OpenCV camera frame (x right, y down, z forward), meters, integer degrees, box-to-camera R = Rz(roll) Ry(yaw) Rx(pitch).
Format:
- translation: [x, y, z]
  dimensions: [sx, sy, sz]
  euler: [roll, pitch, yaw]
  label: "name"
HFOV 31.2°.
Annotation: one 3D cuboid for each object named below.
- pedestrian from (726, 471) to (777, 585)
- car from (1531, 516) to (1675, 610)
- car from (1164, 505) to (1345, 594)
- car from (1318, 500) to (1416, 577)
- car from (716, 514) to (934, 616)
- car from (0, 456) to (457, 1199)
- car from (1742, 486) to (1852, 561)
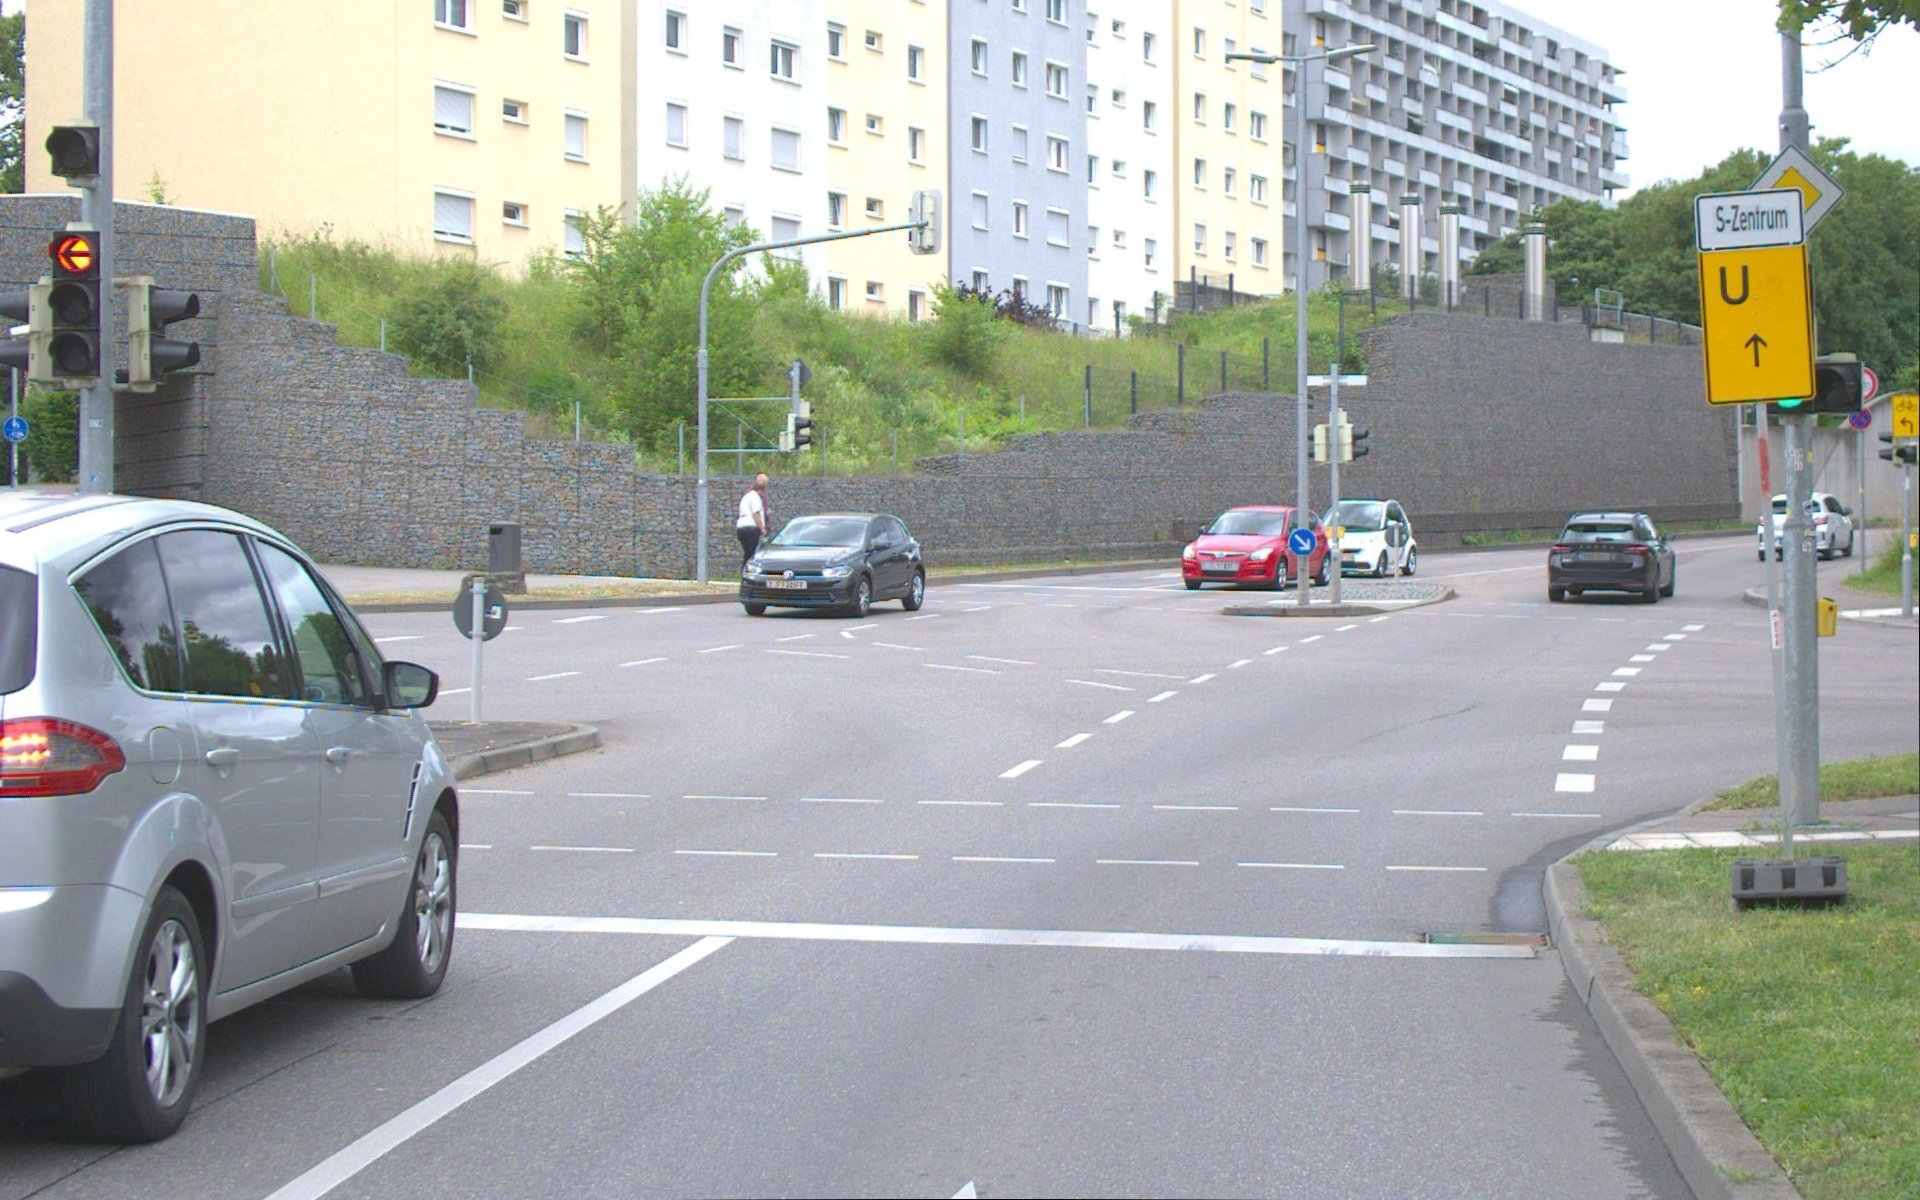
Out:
- translation: [-3.429, -1.175, 56.581]
  dimensions: [0.605, 1.856, 0.596]
  euler: [1, 1, 22]
  label: "pedestrian"
- translation: [10.703, -0.611, 57.019]
  dimensions: [1.901, 1.461, 3.997]
  euler: [1, 1, 17]
  label: "car"
- translation: [5.319, -0.914, 61.619]
  dimensions: [1.844, 1.449, 3.994]
  euler: [4, 3, 26]
  label: "car"
- translation: [8.025, -1.198, 67.659]
  dimensions: [1.161, 1.361, 2.502]
  euler: [4, 1, 24]
  label: "car"
- translation: [-1.875, -0.503, 49.078]
  dimensions: [1.857, 1.356, 3.997]
  euler: [1, 1, 17]
  label: "car"
- translation: [-2.782, 0.491, 9.618]
  dimensions: [1.830, 1.700, 3.868]
  euler: [2, 1, 5]
  label: "car"
- translation: [18.796, -1.705, 77.063]
  dimensions: [1.995, 1.612, 3.996]
  euler: [1, 1, 19]
  label: "car"
